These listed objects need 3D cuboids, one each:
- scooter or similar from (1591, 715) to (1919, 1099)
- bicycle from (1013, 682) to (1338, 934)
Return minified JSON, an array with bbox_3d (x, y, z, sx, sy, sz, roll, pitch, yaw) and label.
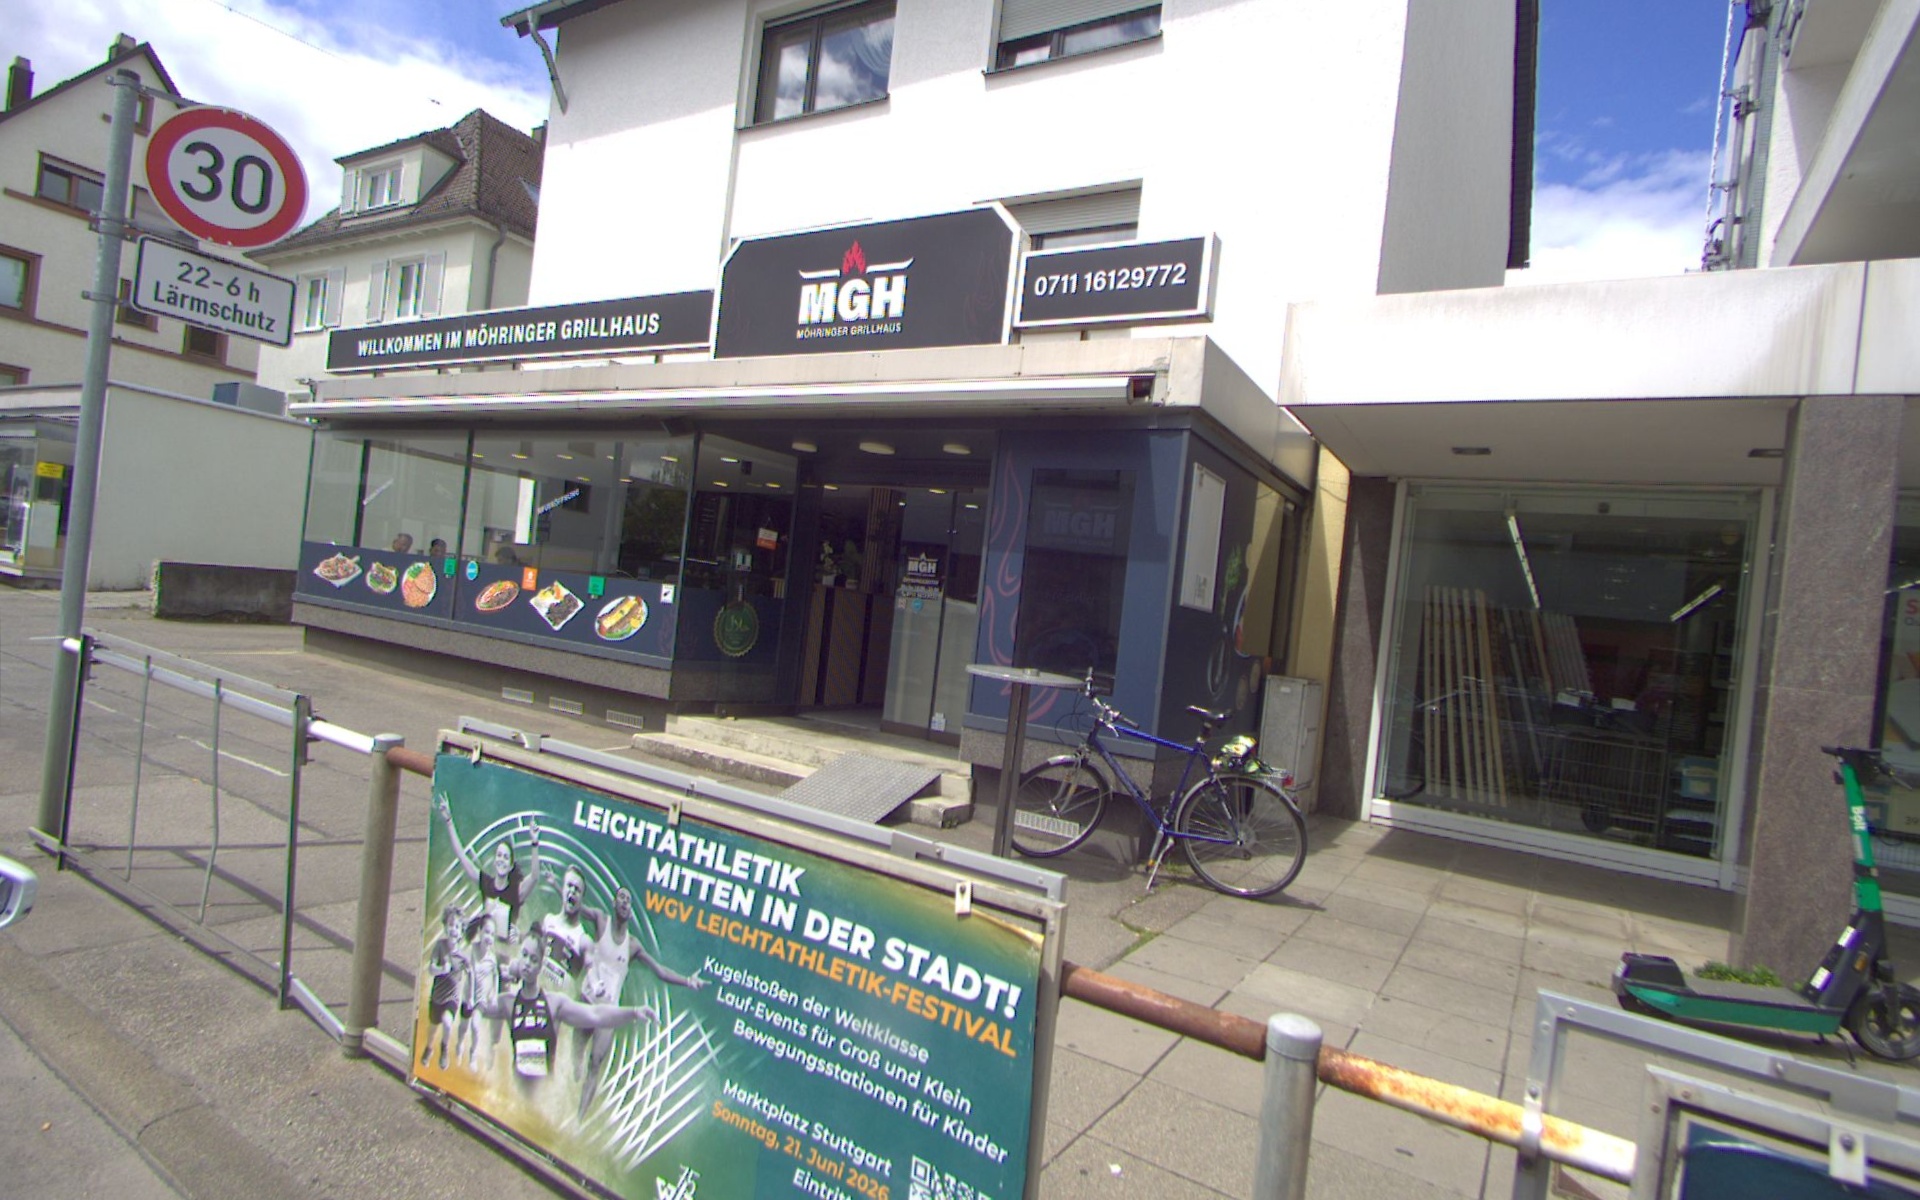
[{"bbox_3d":[3.479,1.224,4.224,1.163,1.283,0.689,6,1,20],"label":"scooter or similar"},{"bbox_3d":[1.182,1.090,5.591,1.606,1.041,0.476,7,1,23],"label":"bicycle"}]
